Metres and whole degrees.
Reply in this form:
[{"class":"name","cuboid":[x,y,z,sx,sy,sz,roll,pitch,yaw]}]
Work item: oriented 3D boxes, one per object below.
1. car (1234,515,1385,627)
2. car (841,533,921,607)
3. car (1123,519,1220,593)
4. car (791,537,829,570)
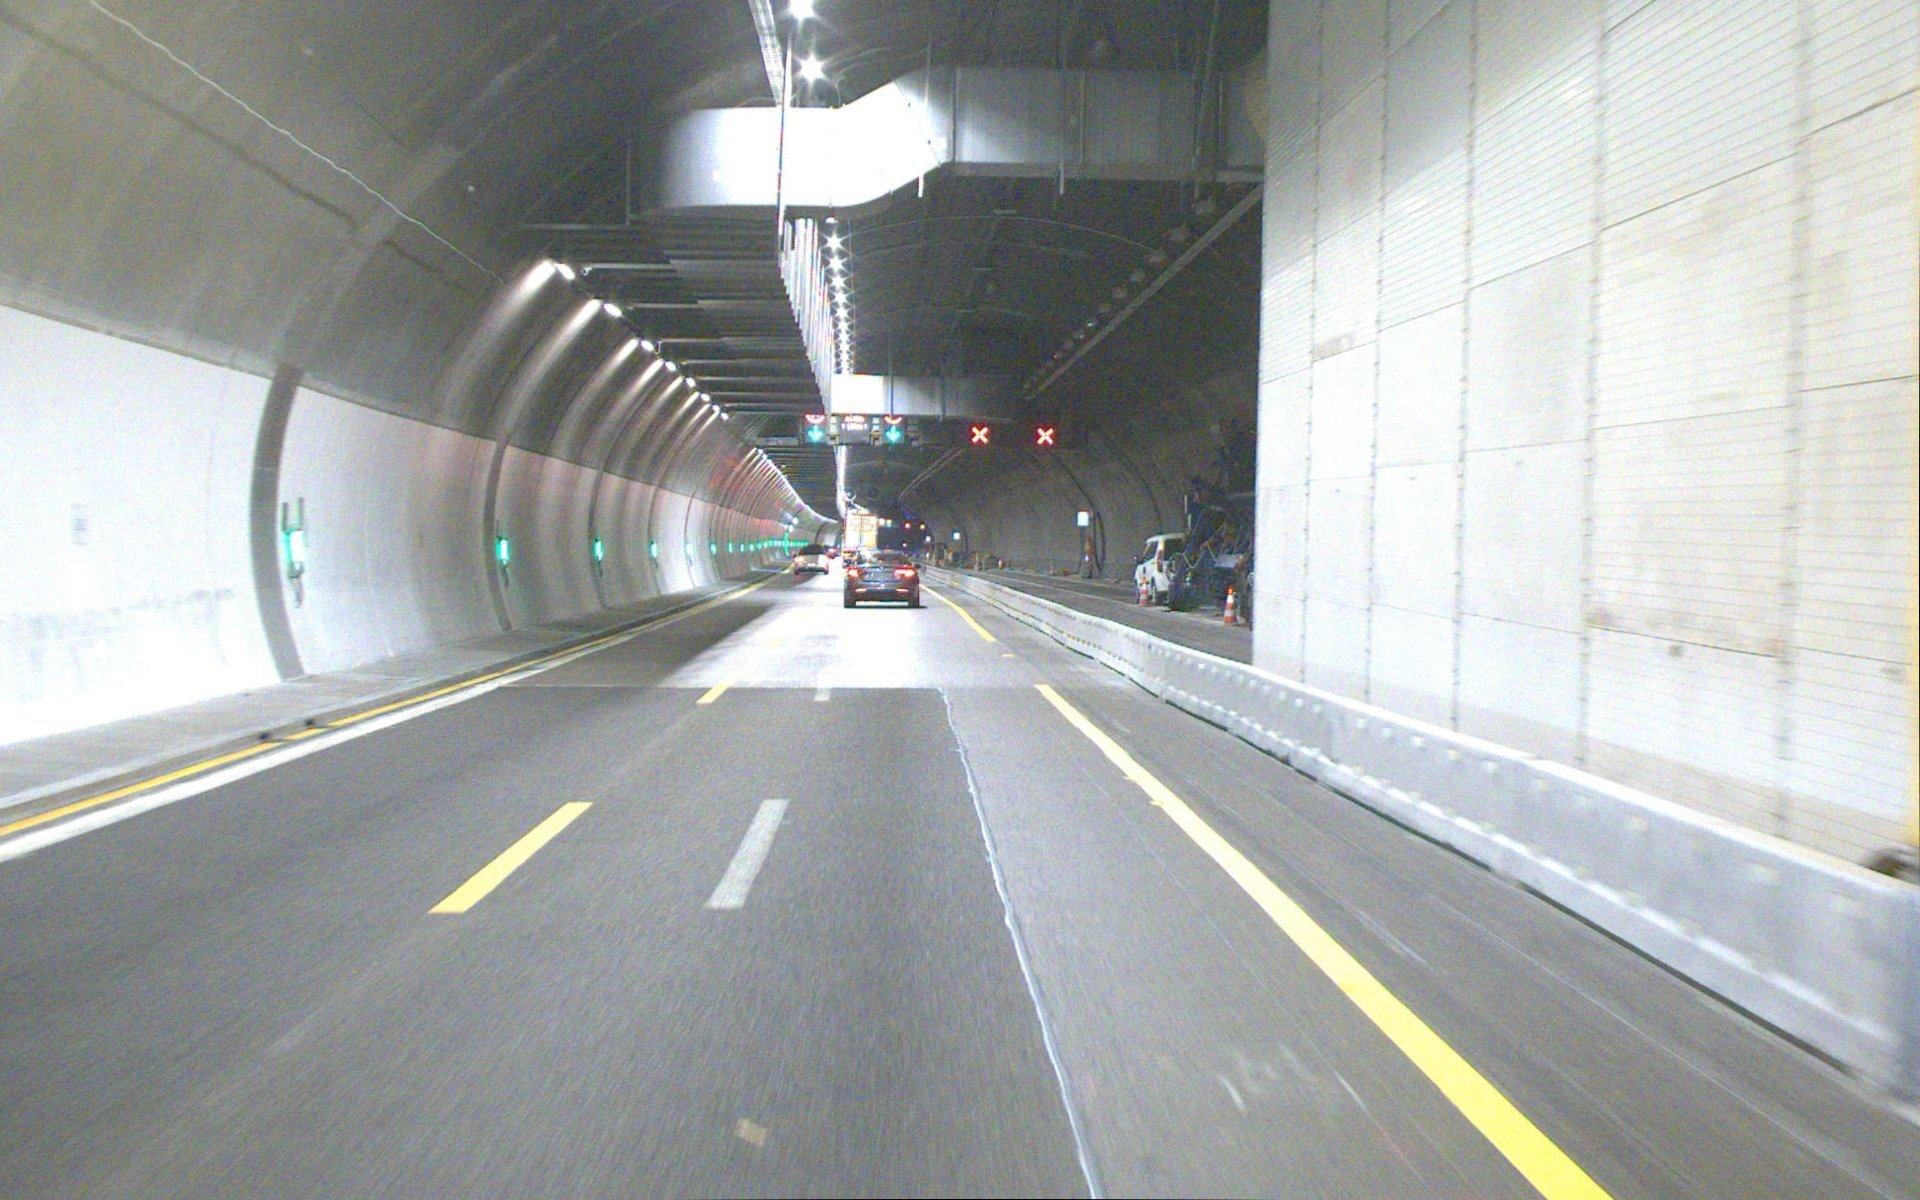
[{"class":"car","cuboid":[6.059,-0.542,60.148,1.827,1.852,5.442,1,1,-3]},{"class":"car","cuboid":[-1.998,-0.772,85.901,1.946,1.788,4.001,0,1,-2]},{"class":"car","cuboid":[5.507,-1.168,90.010,1.750,1.839,4.647,-1,1,-6]},{"class":"car","cuboid":[-7.851,-2.456,180.345,1.930,1.681,4.000,0,1,-1]}]
